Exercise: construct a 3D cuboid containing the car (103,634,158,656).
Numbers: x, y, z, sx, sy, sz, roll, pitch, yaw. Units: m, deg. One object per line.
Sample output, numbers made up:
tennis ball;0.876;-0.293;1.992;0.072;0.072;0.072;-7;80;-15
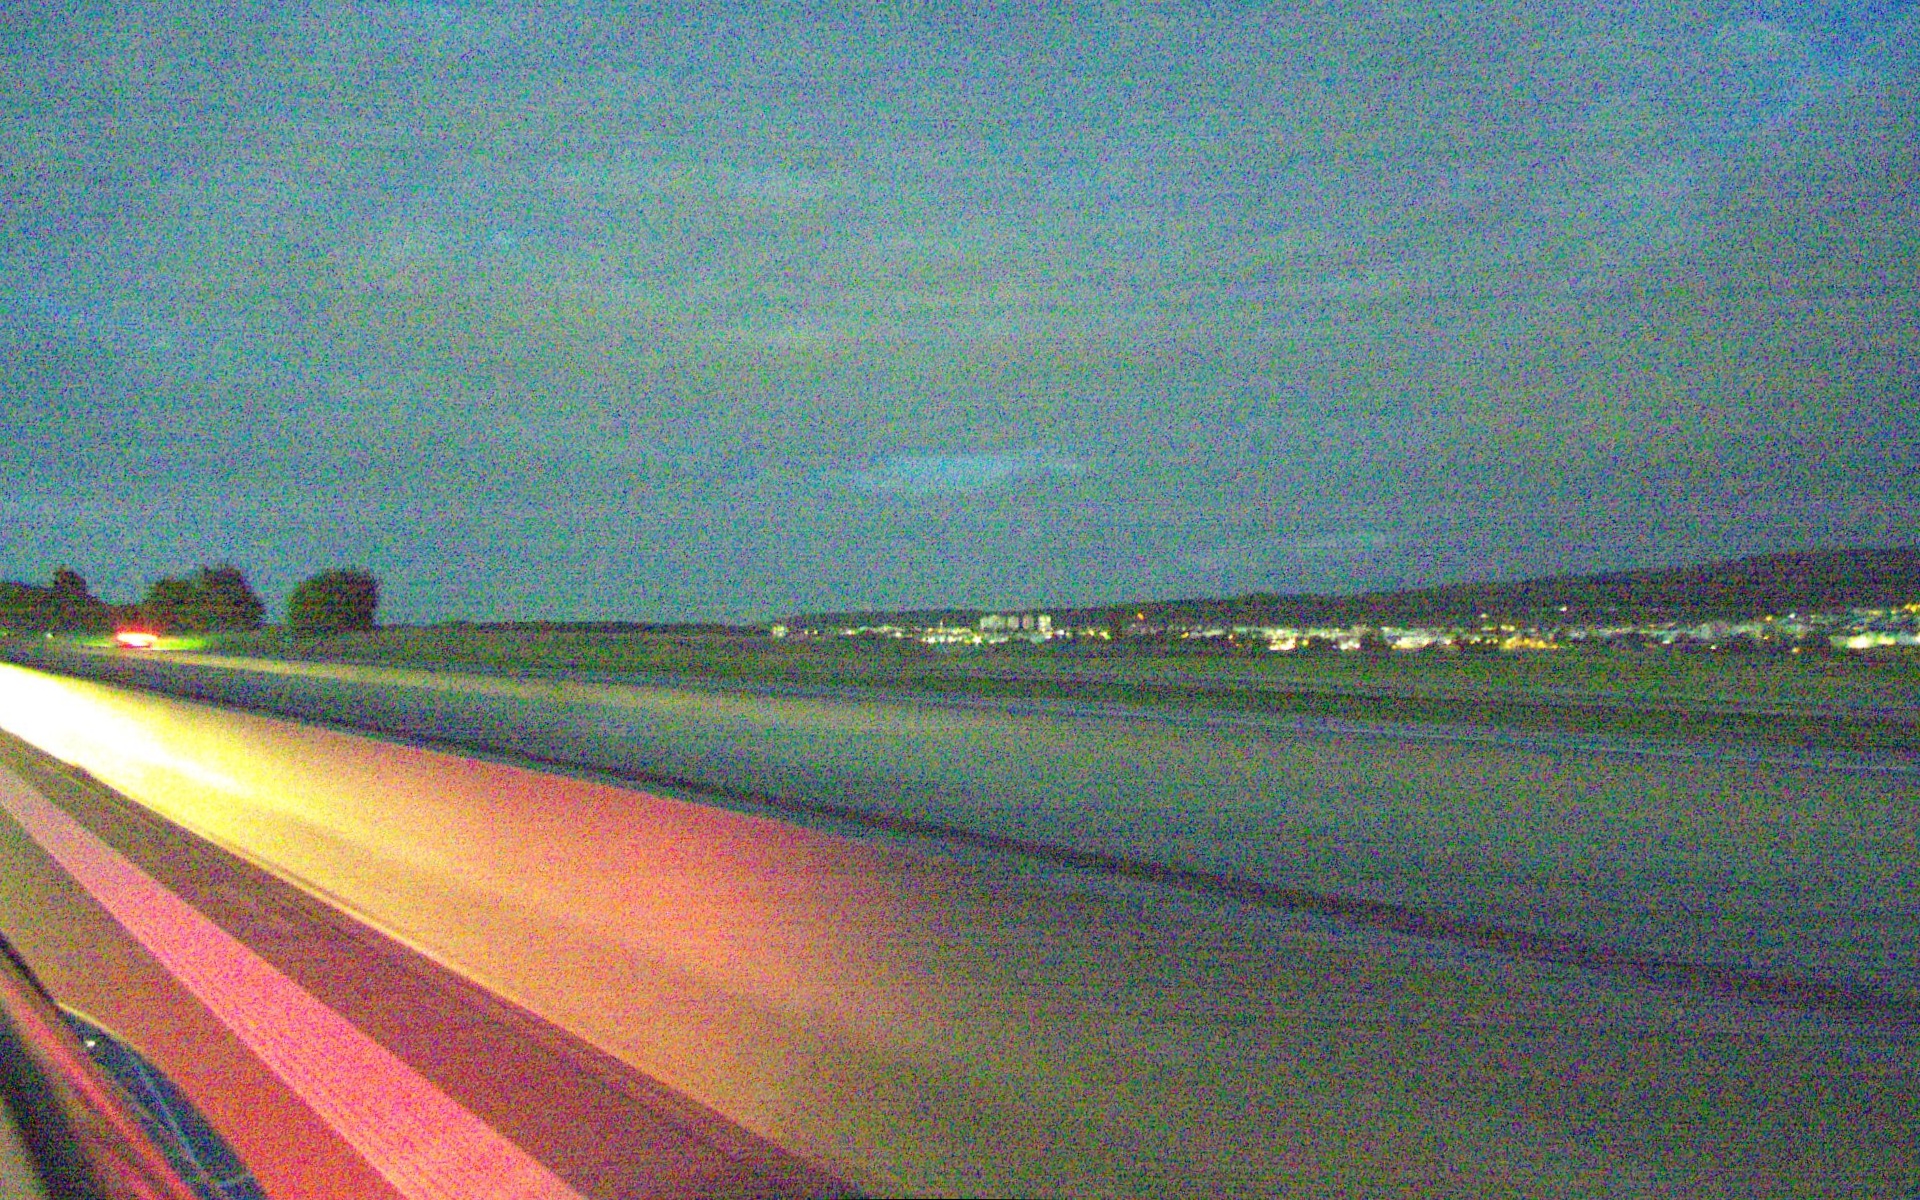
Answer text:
car;-57.654;3.084;70.328;4.978;1.430;1.973;-1;-4;40
